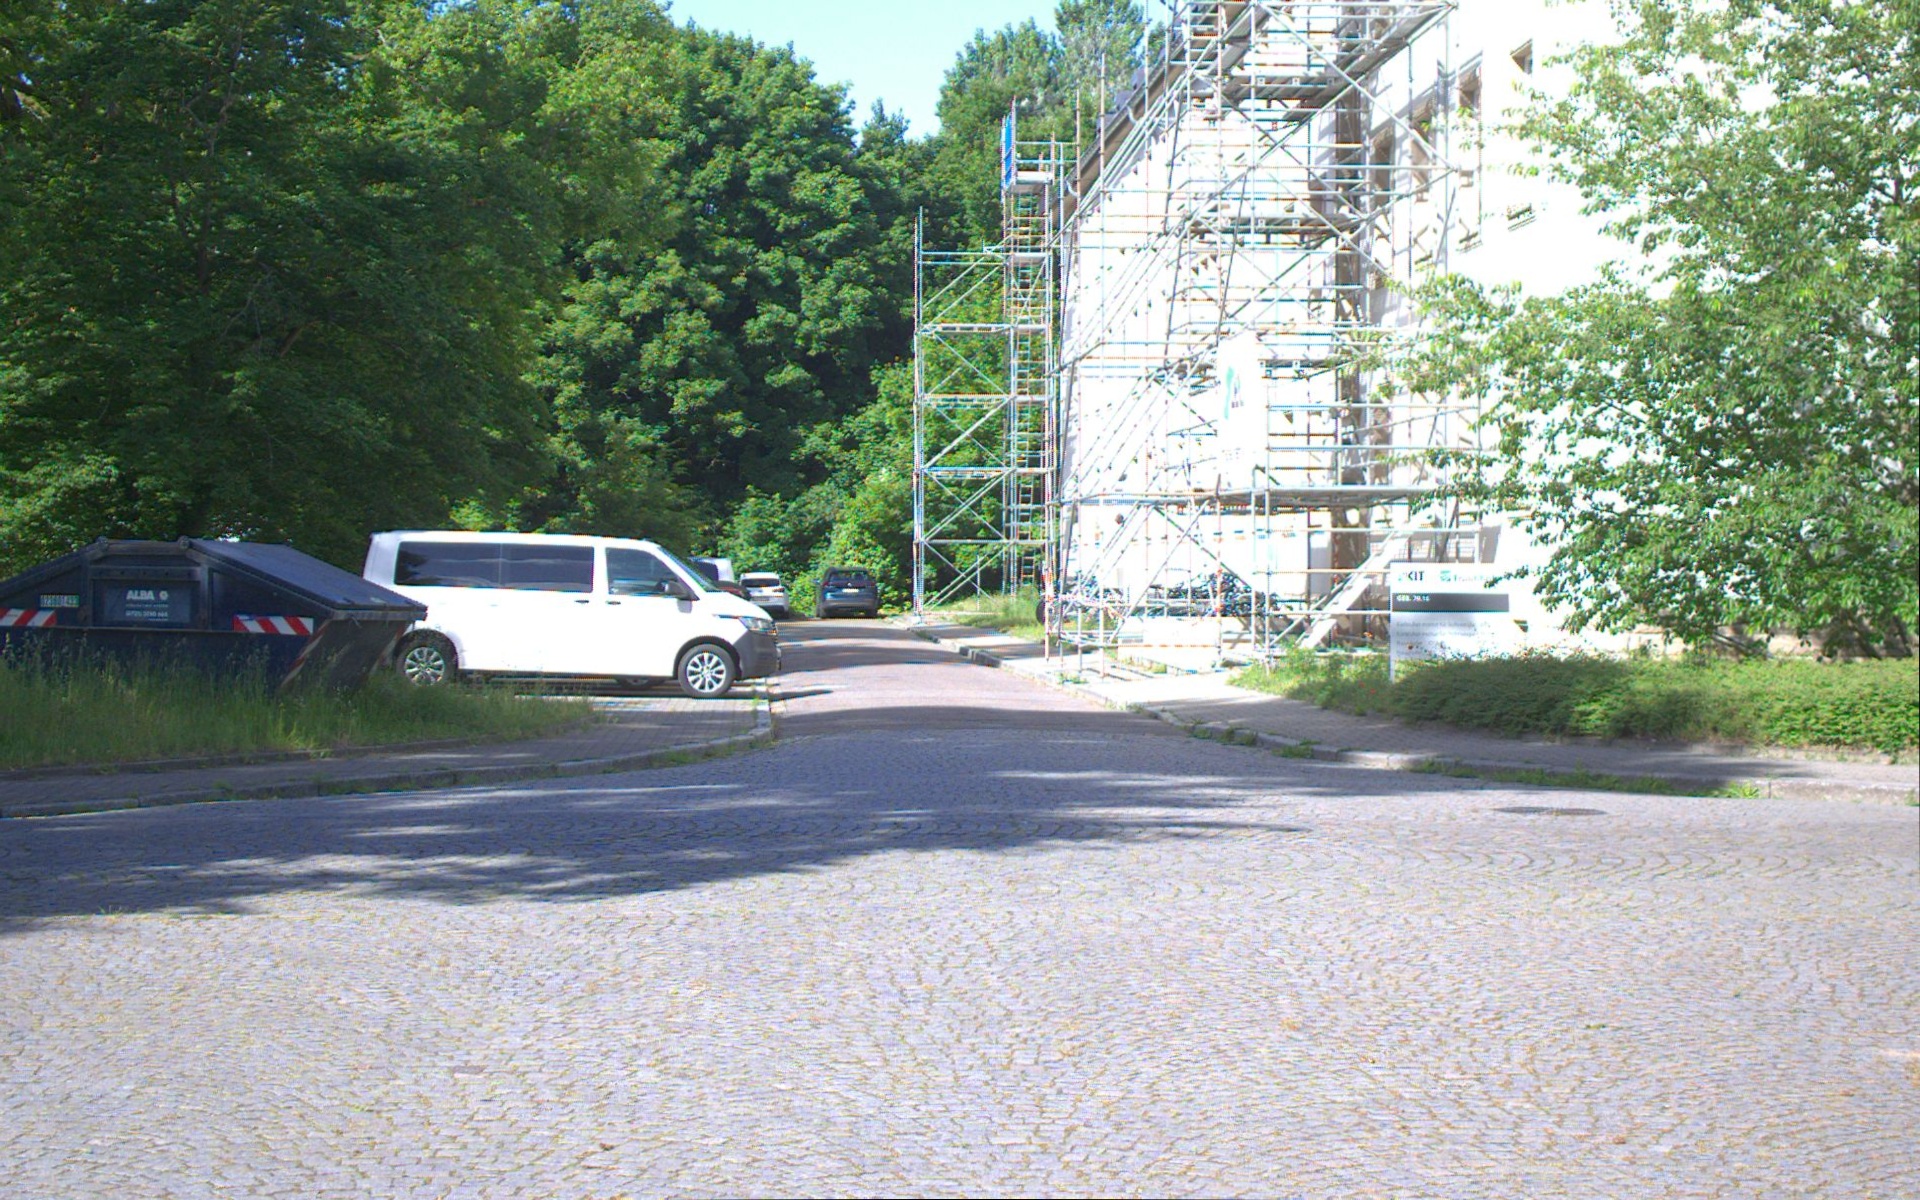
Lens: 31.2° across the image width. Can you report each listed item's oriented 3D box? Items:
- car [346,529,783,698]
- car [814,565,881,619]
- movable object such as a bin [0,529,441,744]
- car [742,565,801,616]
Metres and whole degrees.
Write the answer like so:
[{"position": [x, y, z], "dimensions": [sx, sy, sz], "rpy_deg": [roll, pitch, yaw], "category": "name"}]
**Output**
[{"position": [-4.824, 0.155, 42.477], "dimensions": [5.234, 2.009, 1.950], "rpy_deg": [0, 0, -4], "category": "car"}, {"position": [-3.582, -0.269, 108.955], "dimensions": [1.970, 1.662, 4.087], "rpy_deg": [0, 0, -4], "category": "car"}, {"position": [-6.488, 0.288, 29.273], "dimensions": [3.568, 1.739, 2.023], "rpy_deg": [0, 0, 15], "category": "movable object such as a bin"}, {"position": [-5.966, -0.317, 108.528], "dimensions": [1.812, 1.574, 4.135], "rpy_deg": [0, 0, -4], "category": "car"}]
